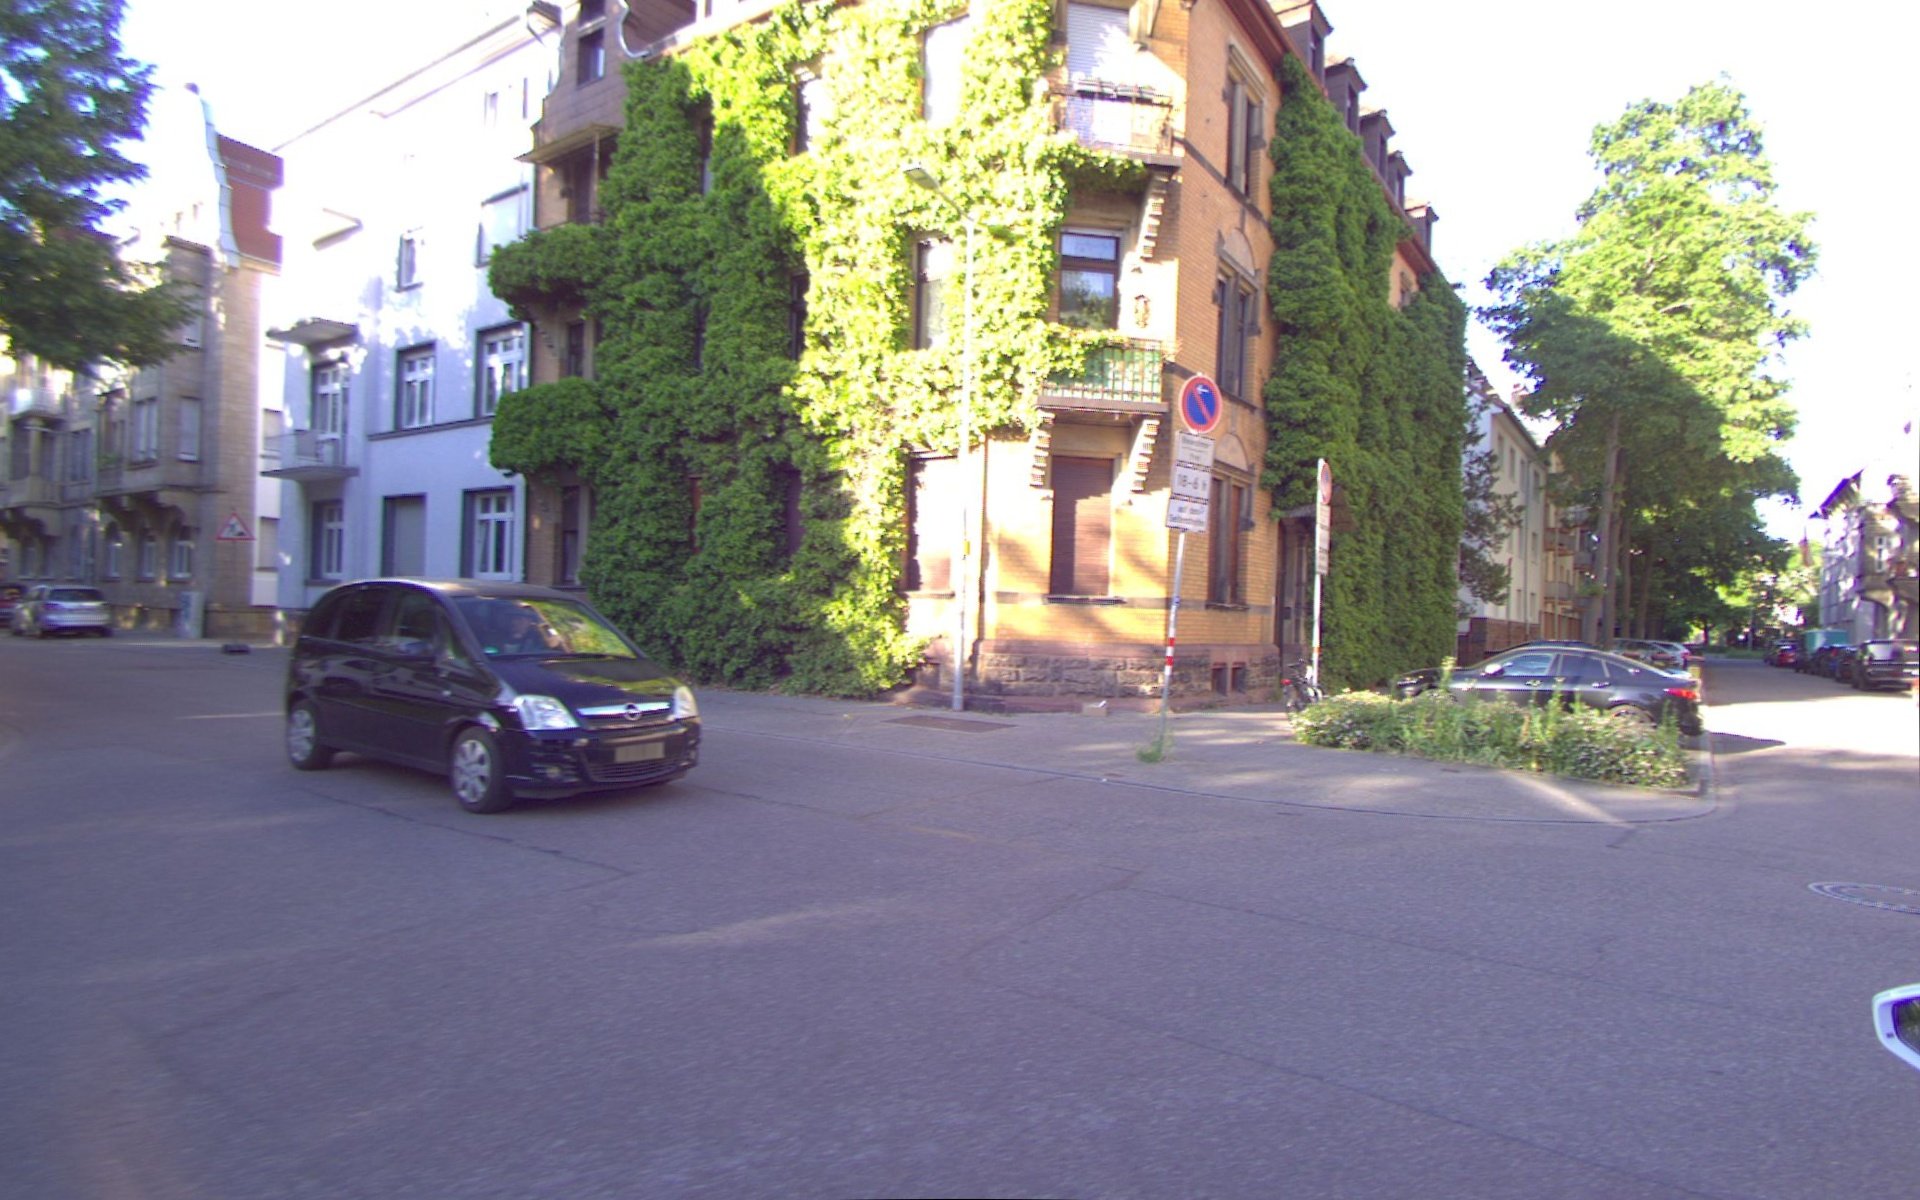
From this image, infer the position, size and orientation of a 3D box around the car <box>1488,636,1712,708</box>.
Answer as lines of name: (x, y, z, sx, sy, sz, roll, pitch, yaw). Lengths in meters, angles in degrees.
car: (16.650, 1.806, 26.322, 4.771, 1.454, 1.705, 3, 0, 36)

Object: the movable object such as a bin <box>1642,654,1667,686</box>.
movable object such as a bin: (24.021, 2.417, 34.739, 0.620, 1.067, 0.567, 3, 0, 31)

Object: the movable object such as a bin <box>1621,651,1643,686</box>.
movable object such as a bin: (23.501, 2.372, 35.132, 0.589, 1.168, 0.485, 3, 0, 31)

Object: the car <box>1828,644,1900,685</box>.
car: (38.004, 2.664, 42.311, 1.779, 1.534, 3.986, 3, 0, 36)

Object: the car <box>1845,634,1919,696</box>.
car: (33.098, 2.283, 35.909, 1.779, 2.030, 3.986, 3, 0, 36)

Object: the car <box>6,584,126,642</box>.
car: (-27.537, 0.394, 30.920, 3.729, 1.567, 1.863, 3, 0, 34)

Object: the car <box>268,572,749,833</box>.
car: (-3.693, 0.615, 7.991, 3.952, 1.612, 1.645, 1, 0, 34)

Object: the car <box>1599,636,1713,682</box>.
car: (28.628, 2.383, 41.436, 3.749, 1.596, 1.706, 3, 0, 34)

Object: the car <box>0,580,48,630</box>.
car: (-34.399, 0.130, 35.810, 4.076, 1.647, 1.993, 3, 0, 36)

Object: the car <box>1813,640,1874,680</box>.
car: (42.074, 2.826, 47.899, 1.779, 1.701, 3.986, 3, 0, 36)

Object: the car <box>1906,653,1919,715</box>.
car: (25.677, 2.226, 25.609, 1.715, 1.602, 3.986, 3, 0, 36)

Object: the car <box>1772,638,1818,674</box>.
car: (58.088, 3.874, 69.952, 2.138, 2.266, 4.774, 3, 0, 36)

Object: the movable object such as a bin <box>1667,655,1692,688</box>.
movable object such as a bin: (24.628, 2.443, 34.395, 0.620, 1.067, 0.567, 3, 0, 31)

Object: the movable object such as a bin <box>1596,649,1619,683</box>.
movable object such as a bin: (22.878, 2.311, 35.487, 0.624, 1.141, 0.485, 3, 0, 31)

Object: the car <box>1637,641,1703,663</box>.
car: (49.838, 3.648, 70.574, 3.751, 1.256, 1.705, 3, 0, 35)

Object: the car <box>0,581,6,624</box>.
car: (-39.191, -0.015, 39.270, 4.076, 1.647, 1.993, 3, 0, 36)

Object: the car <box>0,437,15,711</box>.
car: (-11.682, -0.386, 8.014, 2.201, 2.649, 5.617, 3, 0, 33)

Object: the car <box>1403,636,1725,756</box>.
car: (9.633, 1.431, 16.215, 4.187, 1.454, 1.994, 3, 0, 36)

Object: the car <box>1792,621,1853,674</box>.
car: (48.160, 2.626, 56.166, 2.138, 2.726, 4.774, 3, 0, 36)

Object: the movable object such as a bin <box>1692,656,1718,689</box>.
movable object such as a bin: (25.198, 2.440, 33.993, 0.620, 1.067, 0.567, 3, 0, 31)

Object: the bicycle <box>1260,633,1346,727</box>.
bicycle: (5.041, 1.145, 14.709, 0.557, 1.285, 1.593, 1, -1, 44)

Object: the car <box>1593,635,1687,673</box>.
car: (33.813, 2.667, 49.990, 3.751, 1.596, 1.705, 3, 0, 35)
